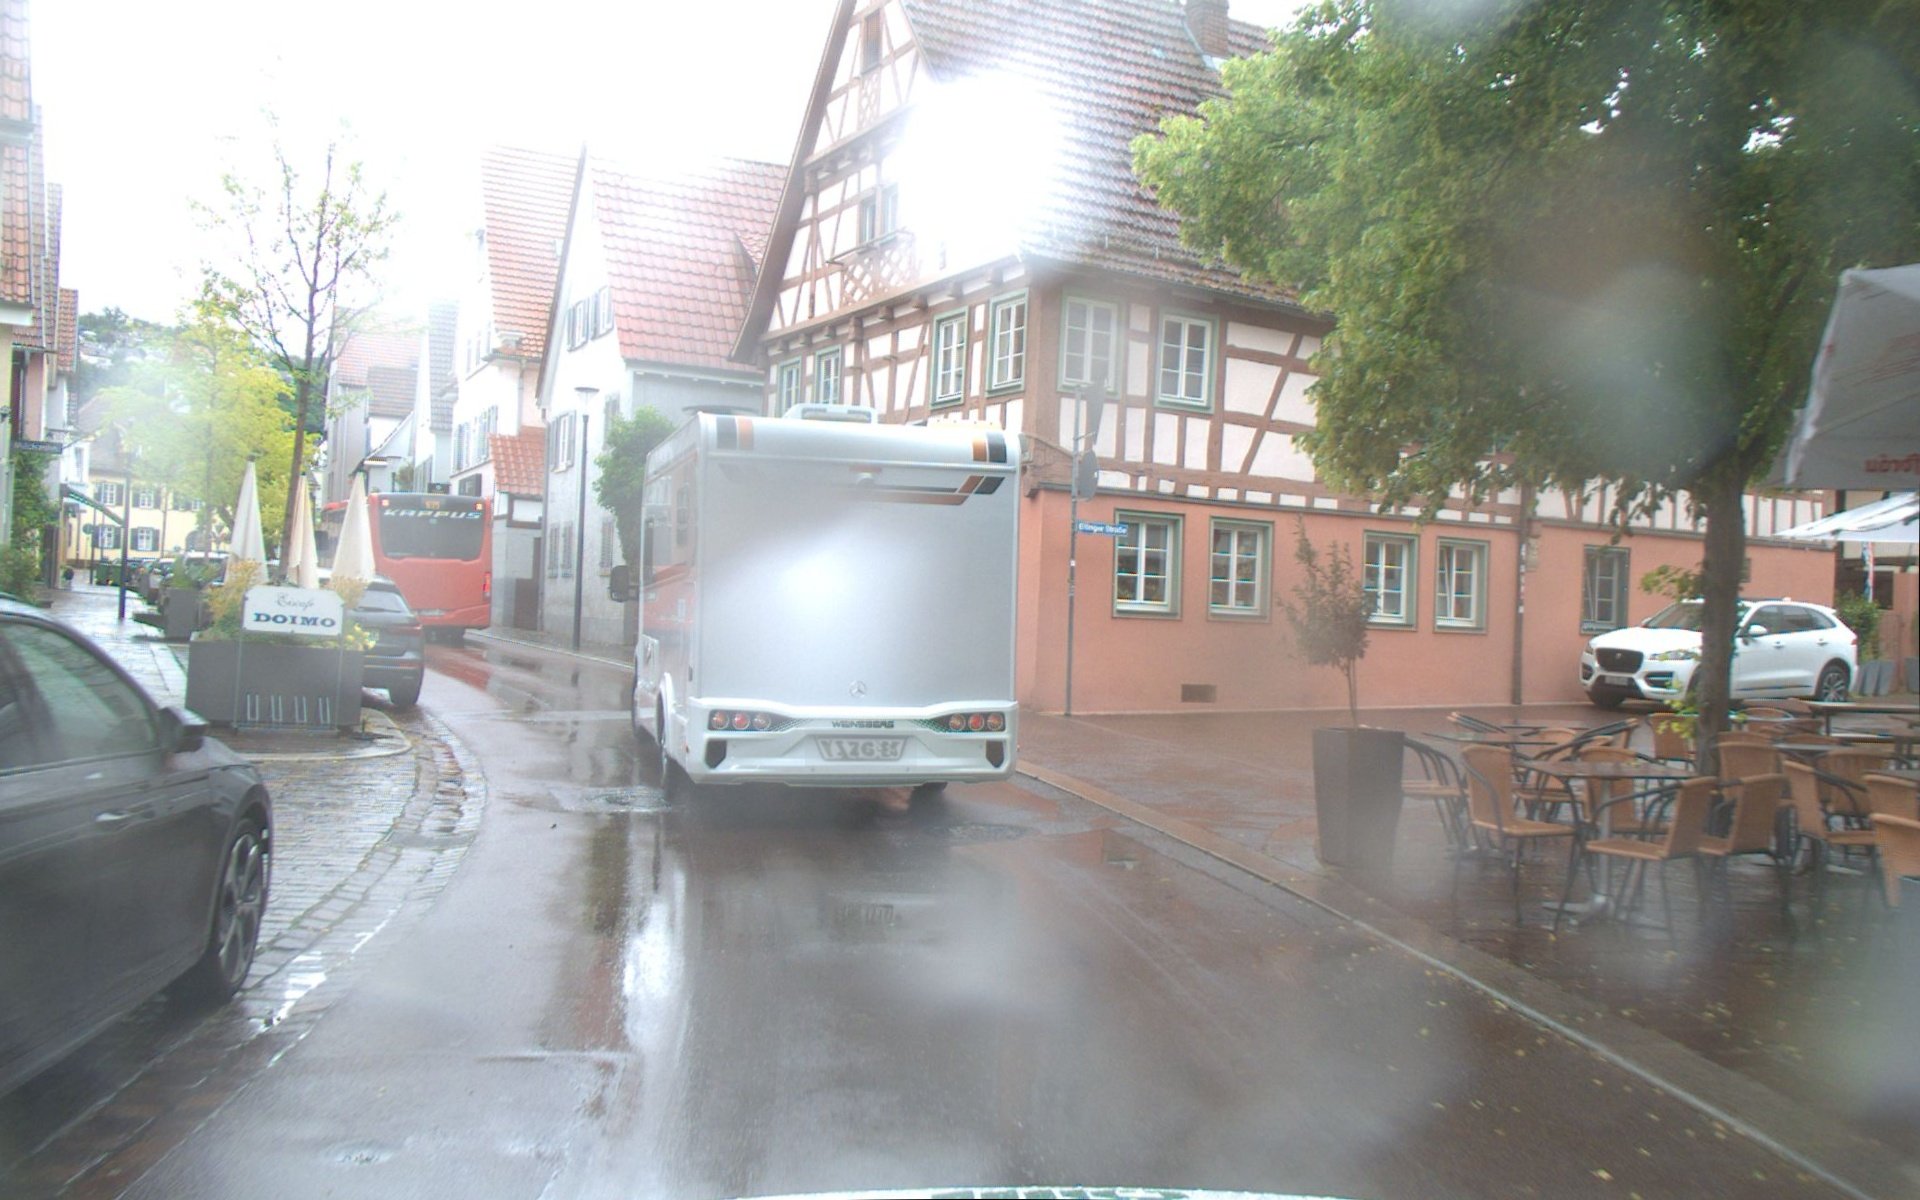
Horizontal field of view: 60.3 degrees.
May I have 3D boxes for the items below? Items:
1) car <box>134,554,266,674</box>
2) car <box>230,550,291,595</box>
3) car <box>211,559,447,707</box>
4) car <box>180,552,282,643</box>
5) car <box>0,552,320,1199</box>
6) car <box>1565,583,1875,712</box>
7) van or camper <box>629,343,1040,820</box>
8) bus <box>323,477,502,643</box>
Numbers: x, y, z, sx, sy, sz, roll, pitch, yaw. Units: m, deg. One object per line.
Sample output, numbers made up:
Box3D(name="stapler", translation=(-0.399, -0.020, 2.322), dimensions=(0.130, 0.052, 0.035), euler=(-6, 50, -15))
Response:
Box3D(name="car", translation=(-11.075, 0.202, 24.066), dimensions=(1.573, 1.573, 3.944), euler=(2, -1, -26))
Box3D(name="car", translation=(-34.188, -1.312, 80.930), dimensions=(1.959, 2.049, 3.987), euler=(1, -1, -13))
Box3D(name="car", translation=(-7.713, 0.330, 19.937), dimensions=(1.783, 1.457, 4.579), euler=(4, 0, -31))
Box3D(name="car", translation=(-15.452, -0.039, 34.941), dimensions=(1.749, 1.704, 4.442), euler=(3, -2, -26))
Box3D(name="car", translation=(-3.211, 0.616, 4.225), dimensions=(1.956, 1.480, 4.366), euler=(1, -1, -8))
Box3D(name="car", translation=(11.255, 0.701, 24.452), dimensions=(4.404, 1.659, 1.926), euler=(2, 2, -30))
Box3D(name="van or camper", translation=(-1.381, -0.072, 13.682), dimensions=(2.287, 2.970, 6.368), euler=(1, -1, -14))
Box3D(name="bus", translation=(-12.241, -0.789, 36.621), dimensions=(2.611, 3.283, 6.541), euler=(2, -1, -28))
